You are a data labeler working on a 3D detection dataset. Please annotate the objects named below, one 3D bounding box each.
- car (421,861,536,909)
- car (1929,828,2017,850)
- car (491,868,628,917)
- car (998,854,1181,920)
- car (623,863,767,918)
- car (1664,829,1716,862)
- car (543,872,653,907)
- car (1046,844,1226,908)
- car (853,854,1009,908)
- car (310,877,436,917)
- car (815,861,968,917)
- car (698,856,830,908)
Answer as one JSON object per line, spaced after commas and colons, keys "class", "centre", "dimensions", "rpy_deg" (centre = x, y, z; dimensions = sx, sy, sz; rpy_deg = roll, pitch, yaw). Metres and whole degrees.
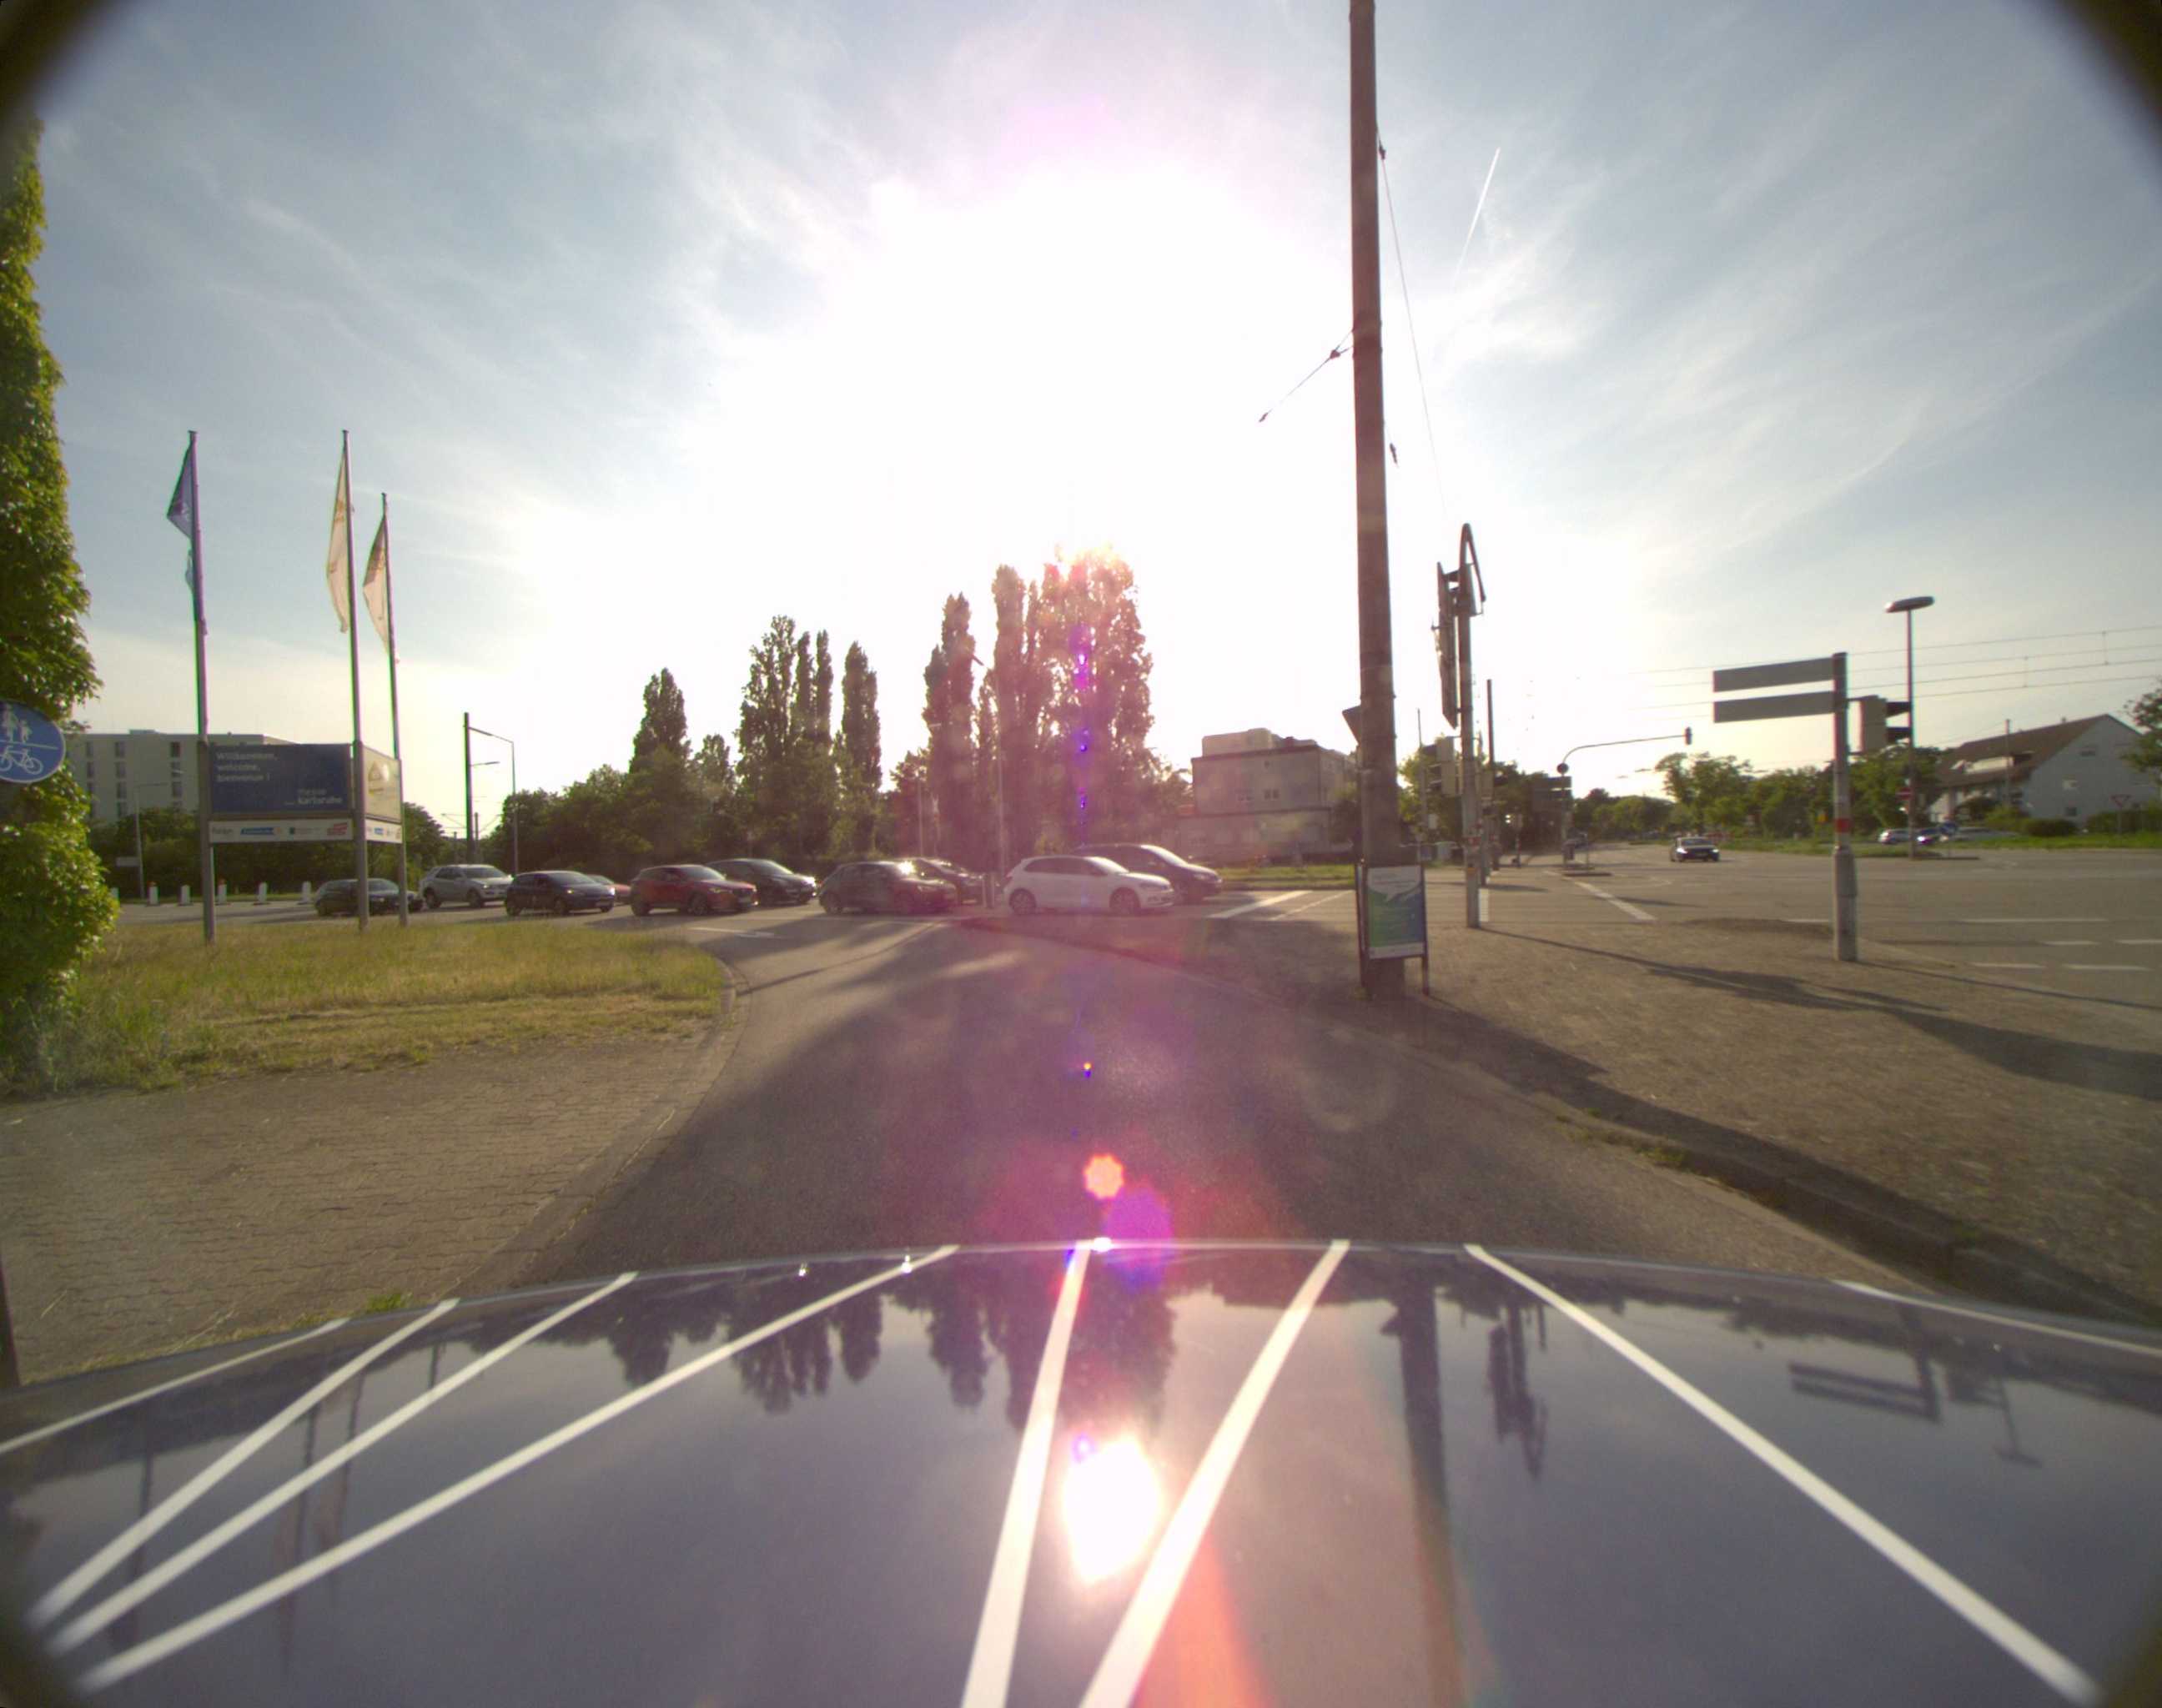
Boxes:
{"class": "car", "centre": [-25.587, 1.310, 32.270], "dimensions": [4.345, 1.814, 1.905], "rpy_deg": [-2, 2, 23]}
{"class": "car", "centre": [72.854, -1.237, 62.153], "dimensions": [4.208, 1.674, 2.003], "rpy_deg": [-1, 2, 31]}
{"class": "car", "centre": [-17.752, 1.320, 25.849], "dimensions": [4.213, 1.496, 1.750], "rpy_deg": [-2, 0, 22]}
{"class": "car", "centre": [0.202, 0.752, 18.095], "dimensions": [4.004, 1.435, 1.664], "rpy_deg": [-1, 0, 23]}
{"class": "car", "centre": [-11.858, 1.112, 23.330], "dimensions": [3.968, 1.543, 1.714], "rpy_deg": [-2, 0, 22]}
{"class": "car", "centre": [35.145, -0.471, 43.910], "dimensions": [1.516, 1.782, 4.007], "rpy_deg": [-2, 0, 27]}
{"class": "car", "centre": [-19.035, 1.396, 29.965], "dimensions": [3.838, 1.200, 1.739], "rpy_deg": [-2, 2, 23]}
{"class": "car", "centre": [1.461, 0.622, 21.072], "dimensions": [4.732, 1.641, 1.514], "rpy_deg": [-2, 0, 29]}
{"class": "car", "centre": [-4.691, 0.846, 23.676], "dimensions": [4.542, 1.499, 1.708], "rpy_deg": [-2, 1, 24]}
{"class": "car", "centre": [-27.938, 1.696, 29.983], "dimensions": [4.346, 1.378, 1.905], "rpy_deg": [-2, 2, 22]}
{"class": "car", "centre": [-5.176, 0.947, 20.757], "dimensions": [3.818, 1.389, 1.650], "rpy_deg": [-2, 0, 25]}
{"class": "car", "centre": [-10.978, 0.965, 26.323], "dimensions": [4.074, 1.661, 1.772], "rpy_deg": [-2, 1, 22]}
